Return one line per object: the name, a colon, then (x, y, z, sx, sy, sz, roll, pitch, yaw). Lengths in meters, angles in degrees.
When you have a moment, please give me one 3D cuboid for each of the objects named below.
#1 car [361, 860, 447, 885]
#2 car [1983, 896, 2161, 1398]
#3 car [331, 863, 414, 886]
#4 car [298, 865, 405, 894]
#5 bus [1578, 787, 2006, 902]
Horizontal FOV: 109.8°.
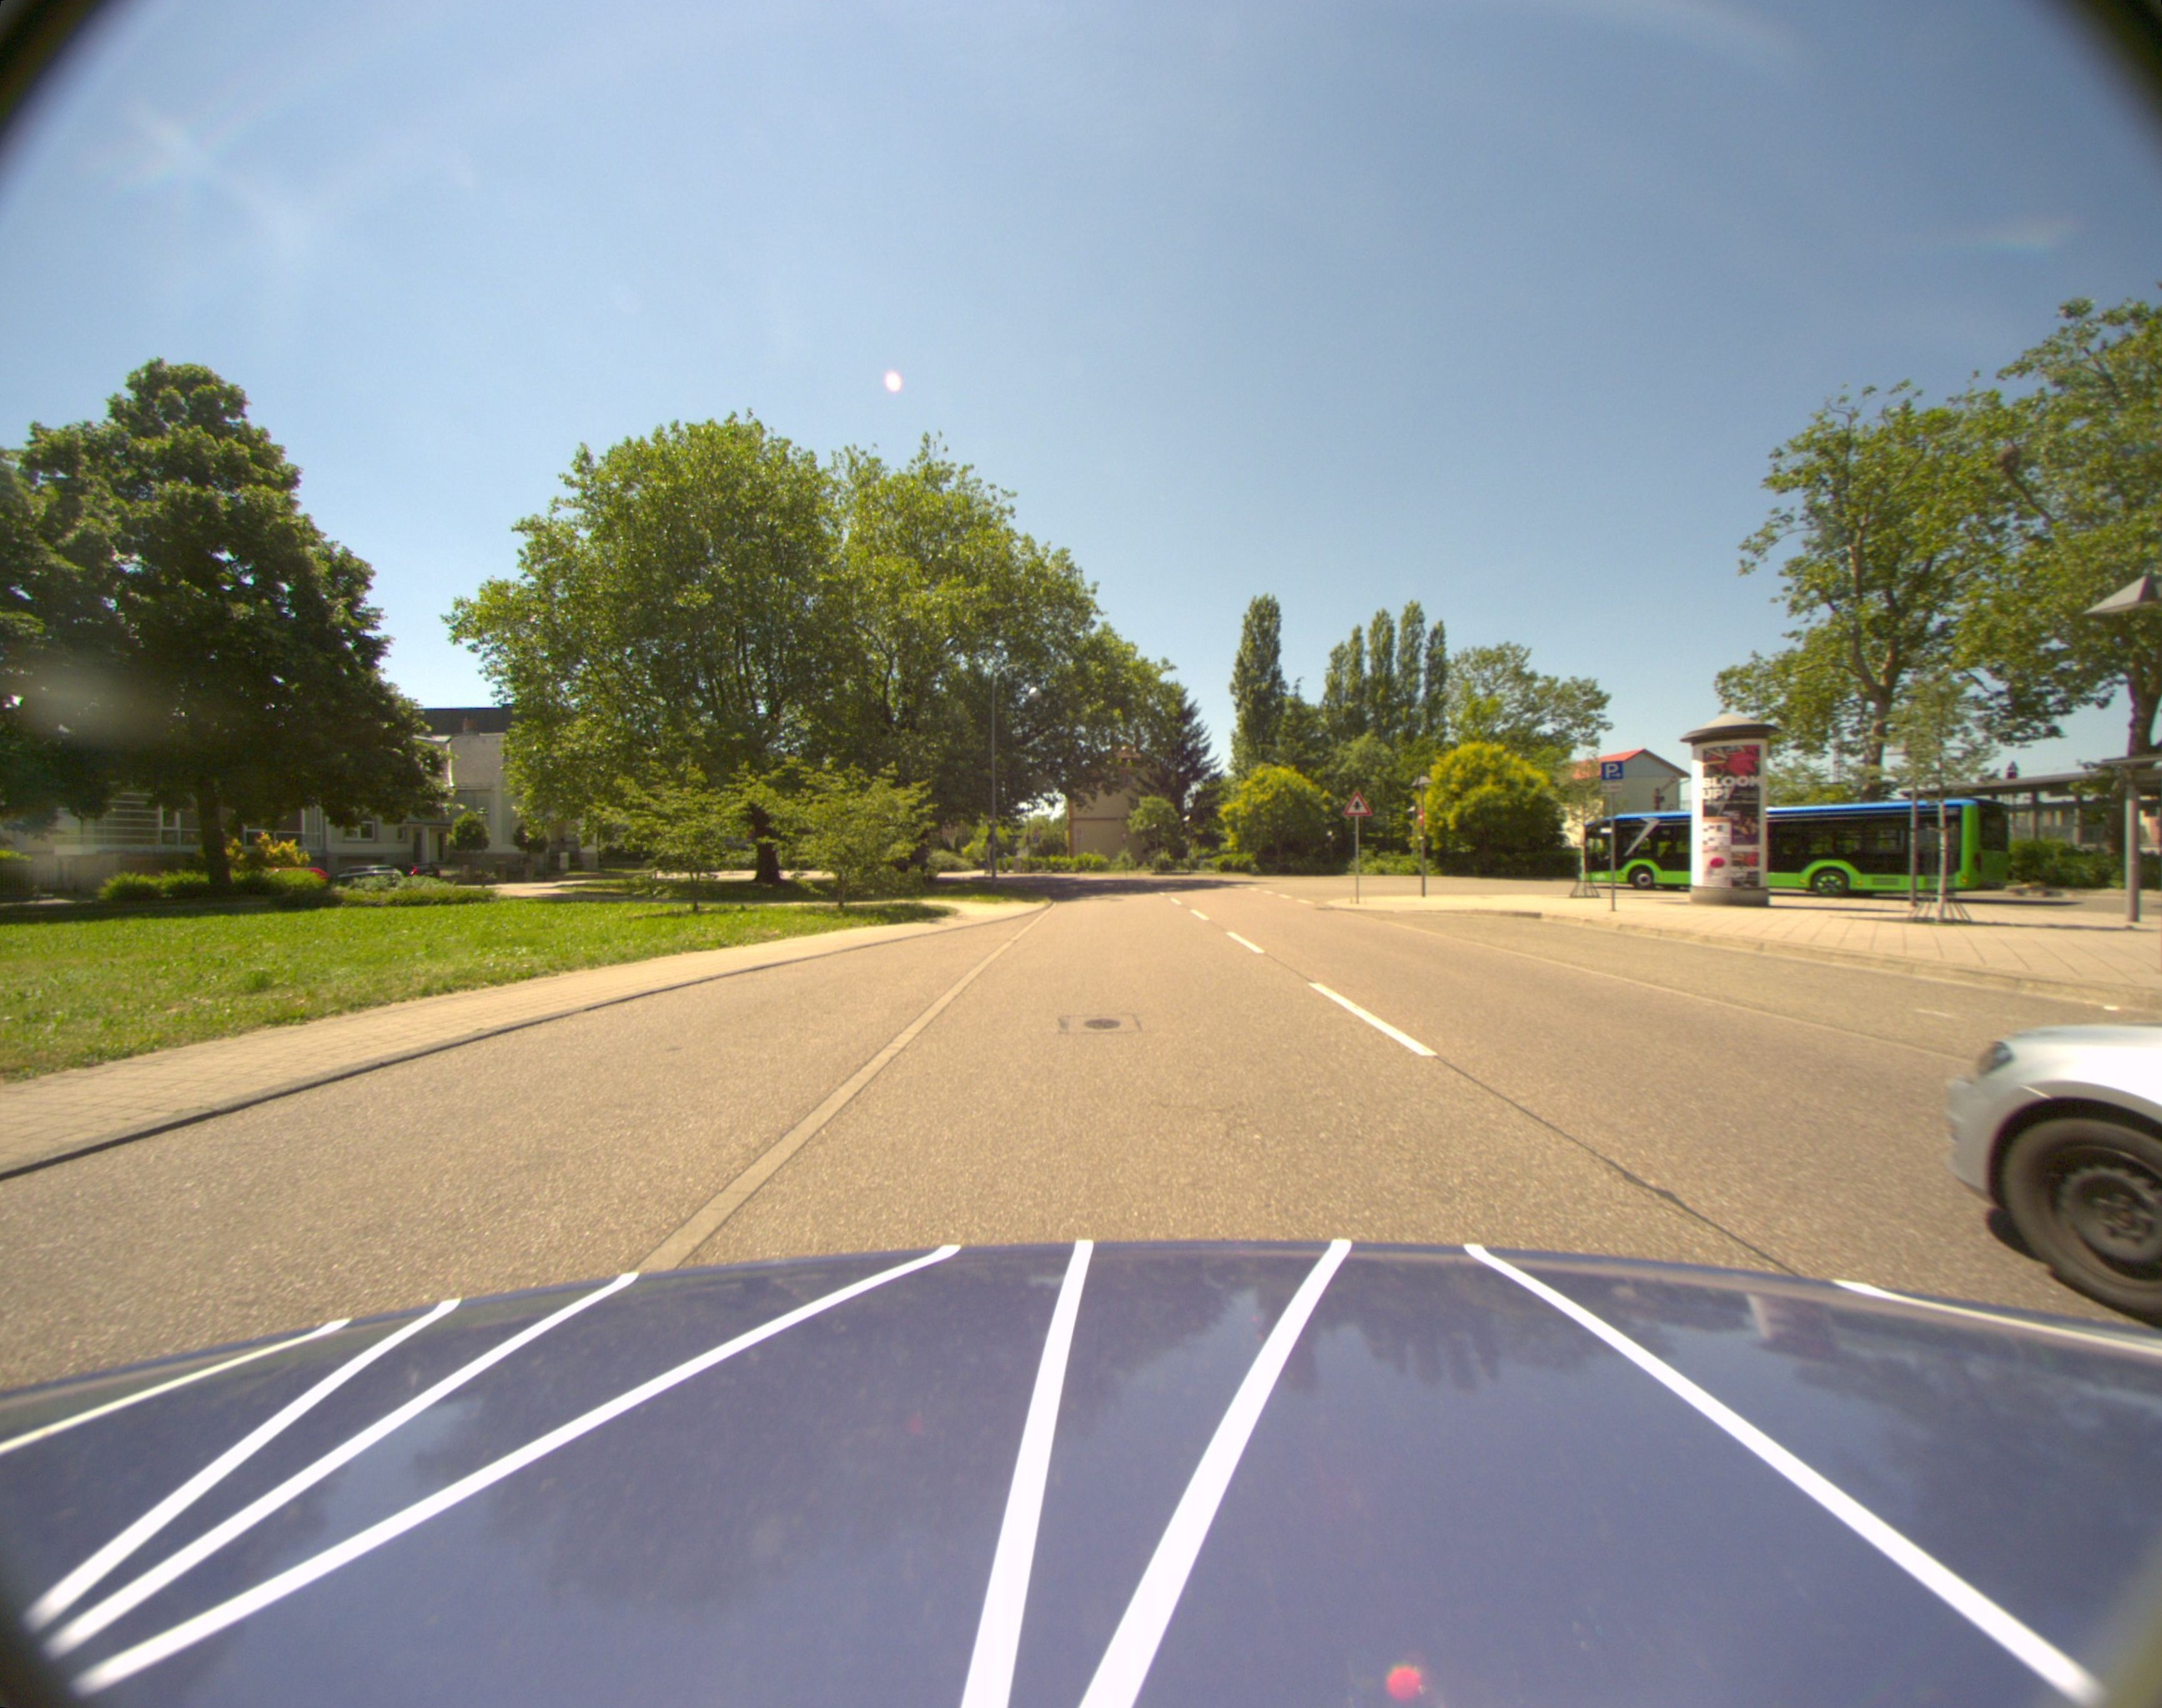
car: (-44.326, 1.224, 49.813, 3.995, 1.559, 2.001, 0, 0, 6)
car: (4.014, 0.893, 0.542, 1.819, 1.435, 4.159, 3, 0, 2)
car: (-44.047, 1.269, 47.258, 3.992, 1.383, 2.003, 0, 0, 17)
car: (-40.824, 1.388, 42.661, 1.750, 1.515, 4.004, 0, 0, 14)
bus: (25.898, -0.285, 29.227, 2.171, 3.505, 12.199, -1, 0, -23)
